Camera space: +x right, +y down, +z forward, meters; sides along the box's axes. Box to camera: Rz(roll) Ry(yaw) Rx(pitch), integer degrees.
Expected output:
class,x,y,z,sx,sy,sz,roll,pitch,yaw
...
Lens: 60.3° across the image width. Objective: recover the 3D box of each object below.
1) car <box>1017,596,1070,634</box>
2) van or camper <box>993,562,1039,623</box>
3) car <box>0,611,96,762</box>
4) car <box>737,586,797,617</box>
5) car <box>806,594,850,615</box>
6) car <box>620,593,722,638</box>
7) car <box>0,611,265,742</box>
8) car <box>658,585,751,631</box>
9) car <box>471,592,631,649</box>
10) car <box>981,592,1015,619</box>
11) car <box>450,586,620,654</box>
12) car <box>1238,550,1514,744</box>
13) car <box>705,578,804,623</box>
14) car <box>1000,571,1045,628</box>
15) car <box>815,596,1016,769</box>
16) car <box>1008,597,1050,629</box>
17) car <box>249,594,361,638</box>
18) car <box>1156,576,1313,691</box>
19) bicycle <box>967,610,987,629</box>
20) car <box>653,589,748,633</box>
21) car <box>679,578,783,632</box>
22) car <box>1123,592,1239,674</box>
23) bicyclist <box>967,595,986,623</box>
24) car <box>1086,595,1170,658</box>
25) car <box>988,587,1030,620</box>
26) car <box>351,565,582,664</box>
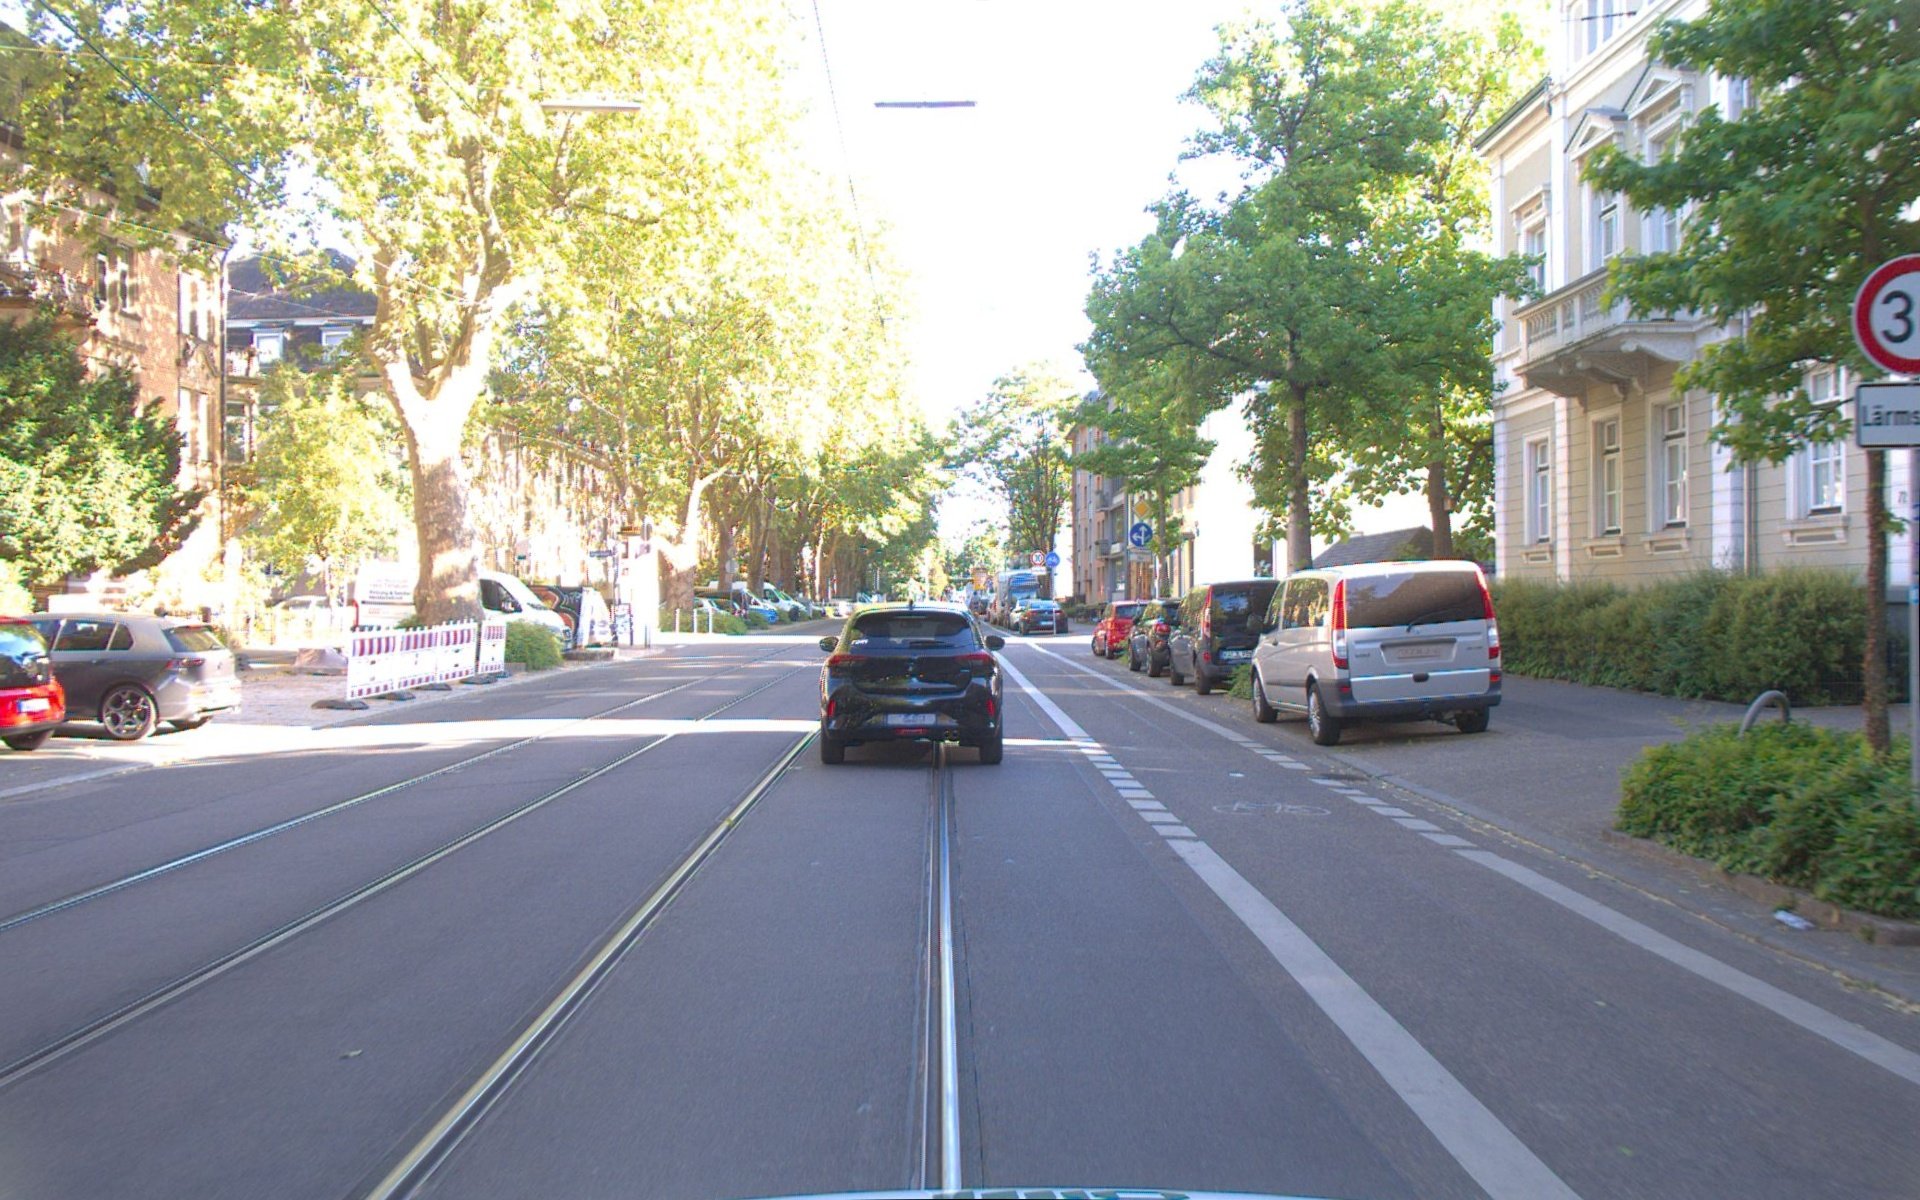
class,x,y,z,sx,sy,sz,roll,pitch,yaw
car,3.442,0.600,69.003,1.846,1.459,4.529,-3,0,-1
van or camper,3.113,-0.408,92.944,2.208,3.272,5.530,-2,0,-1
car,-11.224,0.862,17.379,3.349,1.490,1.760,0,0,1
car,-12.999,0.133,111.498,3.914,2.049,1.995,0,0,-10
car,-12.842,0.418,160.914,3.902,2.049,2.001,0,0,6
car,-12.539,0.662,71.912,4.220,1.621,1.779,-4,0,-8
car,-10.863,0.900,20.233,3.906,1.490,1.854,0,0,-1
car,-12.160,0.400,78.827,4.220,1.872,1.779,-4,0,-8
car,-11.869,0.591,48.238,4.214,1.635,1.925,0,0,-4
car,2.772,0.366,121.287,2.208,1.873,5.530,-2,0,-1
car,-11.666,0.552,45.608,4.214,1.832,1.925,0,0,-4
car,4.685,0.480,19.431,1.846,1.883,4.966,-3,0,-1
car,-12.199,0.018,98.239,5.521,2.638,2.197,0,0,3
car,3.228,-0.039,86.333,2.043,2.820,4.697,-2,1,-1
car,-0.405,0.711,16.278,1.727,1.486,3.950,0,0,-1
car,3.275,0.633,79.174,1.767,1.459,3.999,-2,-1,-1
car,-24.882,0.587,63.050,1.816,1.620,4.744,0,0,9
car,4.623,0.529,28.516,1.847,1.797,4.677,-1,0,-1
bicycle,0.902,1.059,89.433,0.948,1.016,2.582,0,0,-2
car,-11.964,0.513,76.501,4.220,1.703,1.779,-4,0,-8
car,-11.803,0.267,85.529,4.934,2.415,2.081,-4,0,-1
car,4.523,0.646,34.316,1.677,1.540,4.035,-3,0,-2
bicyclist,0.896,0.480,89.423,0.939,1.525,1.093,0,0,-2
car,4.315,0.659,42.997,1.668,1.448,3.977,-4,0,-1
car,2.933,0.218,100.138,2.208,1.873,5.530,-2,0,-1
car,-11.764,0.344,39.685,4.934,2.299,2.084,0,0,-4
